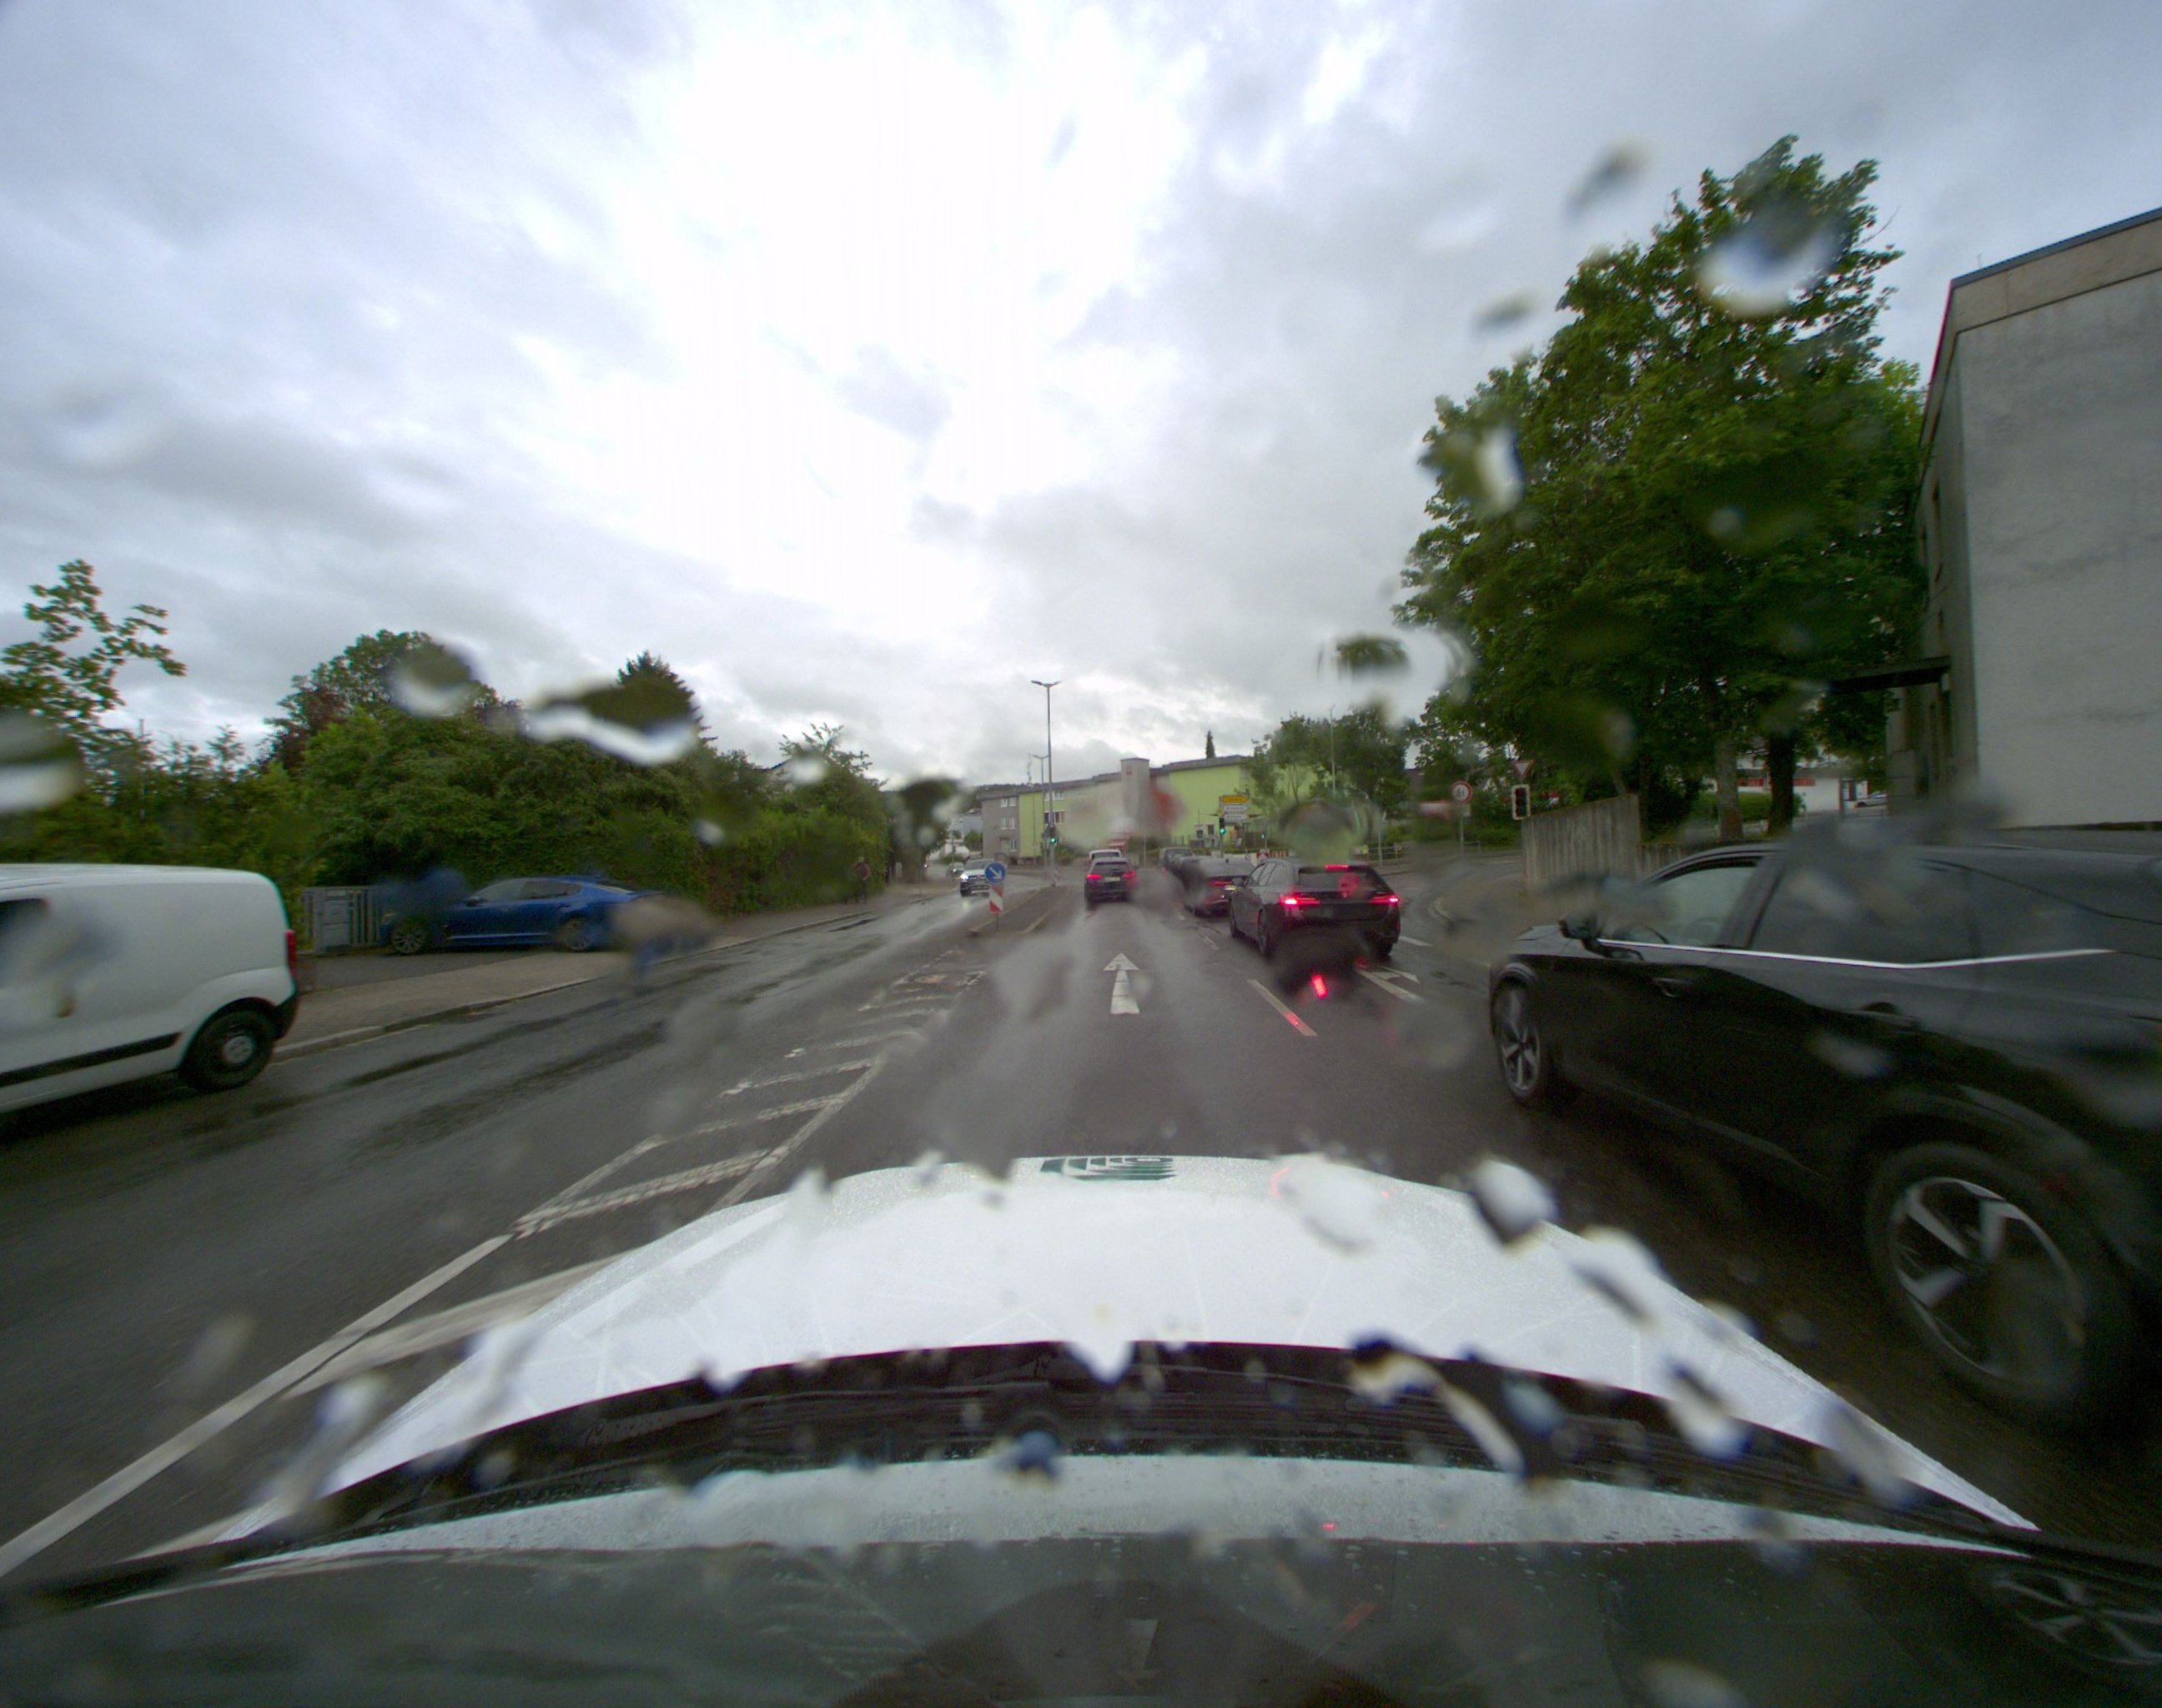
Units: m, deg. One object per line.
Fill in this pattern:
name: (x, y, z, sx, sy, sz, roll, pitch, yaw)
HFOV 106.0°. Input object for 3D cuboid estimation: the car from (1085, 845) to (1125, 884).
car: (1.162, 0.492, 41.467, 1.712, 1.844, 4.083, -3, 1, -2)

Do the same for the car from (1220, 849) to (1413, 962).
car: (3.619, 0.692, 13.507, 1.898, 1.458, 4.780, -2, 0, 2)

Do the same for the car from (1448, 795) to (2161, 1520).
car: (3.390, 0.627, 3.522, 1.782, 1.603, 4.257, -4, 1, 3)

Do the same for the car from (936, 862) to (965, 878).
car: (-13.908, 1.707, 86.906, 1.803, 1.489, 4.117, -4, 0, -27)

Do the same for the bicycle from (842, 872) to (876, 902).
bicycle: (-8.456, 1.232, 31.101, 0.744, 1.086, 1.989, -1, -1, 1)

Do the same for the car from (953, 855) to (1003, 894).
car: (-5.154, 1.001, 41.426, 2.036, 1.716, 4.478, -3, 1, -2)

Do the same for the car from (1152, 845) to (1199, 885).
car: (4.486, 0.481, 39.207, 1.777, 1.734, 4.087, -3, 0, 1)

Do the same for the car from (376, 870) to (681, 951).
car: (-10.356, 1.024, 15.576, 4.475, 1.362, 1.802, 0, 1, -5)

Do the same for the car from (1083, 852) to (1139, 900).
car: (0.995, 0.728, 28.809, 1.678, 1.506, 3.771, -3, 0, -1)

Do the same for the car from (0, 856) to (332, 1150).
car: (-7.327, 0.906, 5.028, 1.695, 1.708, 3.978, 1, 0, 0)

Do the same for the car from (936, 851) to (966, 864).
car: (-20.650, 0.603, 129.135, 4.403, 1.772, 1.989, -4, 0, -16)

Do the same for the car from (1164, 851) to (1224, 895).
car: (4.219, 0.669, 30.899, 1.842, 1.486, 4.090, -3, 0, 3)

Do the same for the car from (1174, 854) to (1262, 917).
car: (3.523, 0.752, 21.736, 1.700, 1.427, 4.511, -2, 0, 2)

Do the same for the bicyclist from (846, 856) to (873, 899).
bicyclist: (-8.465, 0.883, 31.178, 0.762, 1.612, 0.868, -1, 0, 0)
